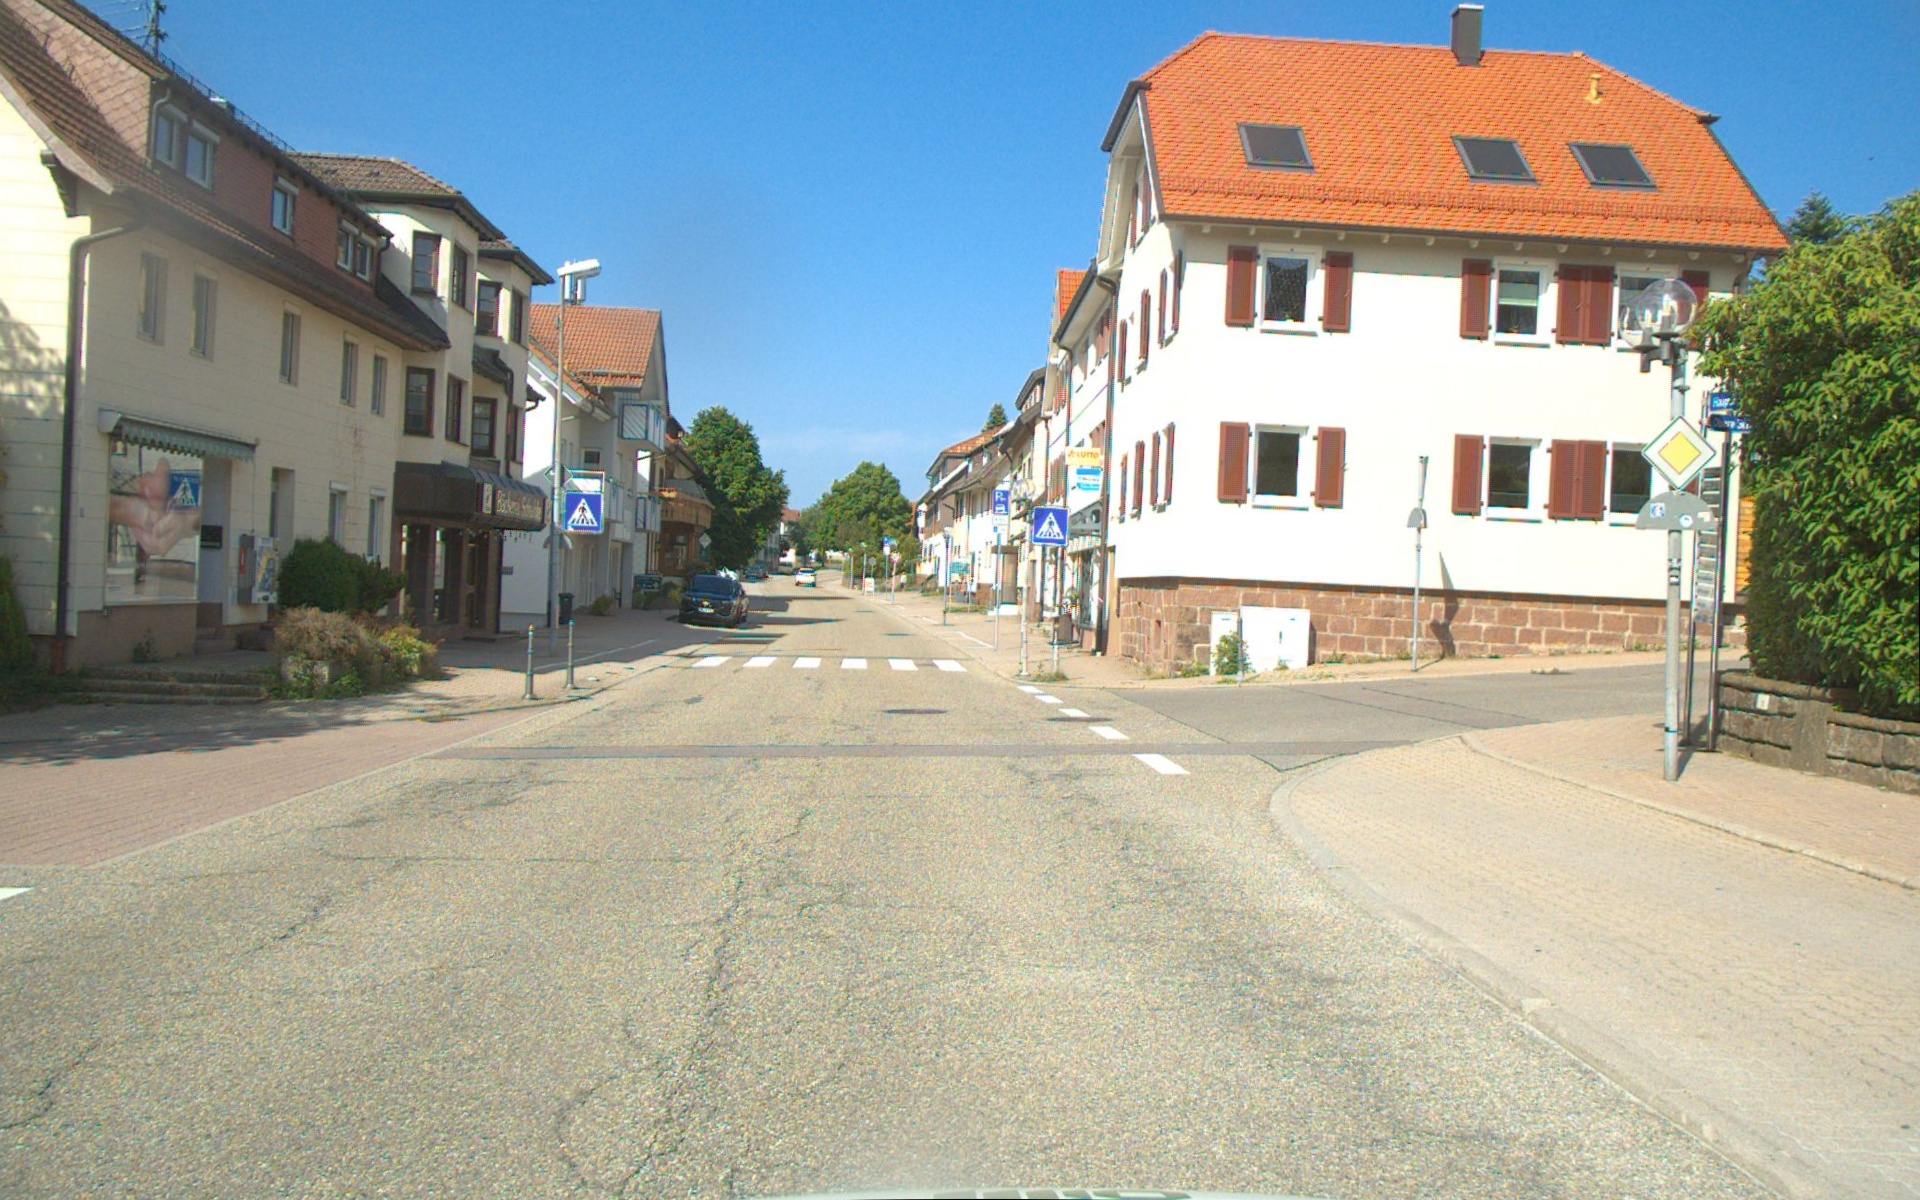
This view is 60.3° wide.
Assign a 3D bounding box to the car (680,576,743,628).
[{"bbox_3d":[-8.395,0.036,56.133,1.640,1.559,3.533,6,0,-3],"label":"car"}]

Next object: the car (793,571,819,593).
[{"bbox_3d":[-15.049,-1.764,161.498,2.447,2.049,4.299,-1,0,-6],"label":"car"}]

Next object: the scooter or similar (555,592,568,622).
[{"bbox_3d":[-12.125,0.207,50.383,0.345,0.905,0.394,0,0,-9],"label":"scooter or similar"}]
